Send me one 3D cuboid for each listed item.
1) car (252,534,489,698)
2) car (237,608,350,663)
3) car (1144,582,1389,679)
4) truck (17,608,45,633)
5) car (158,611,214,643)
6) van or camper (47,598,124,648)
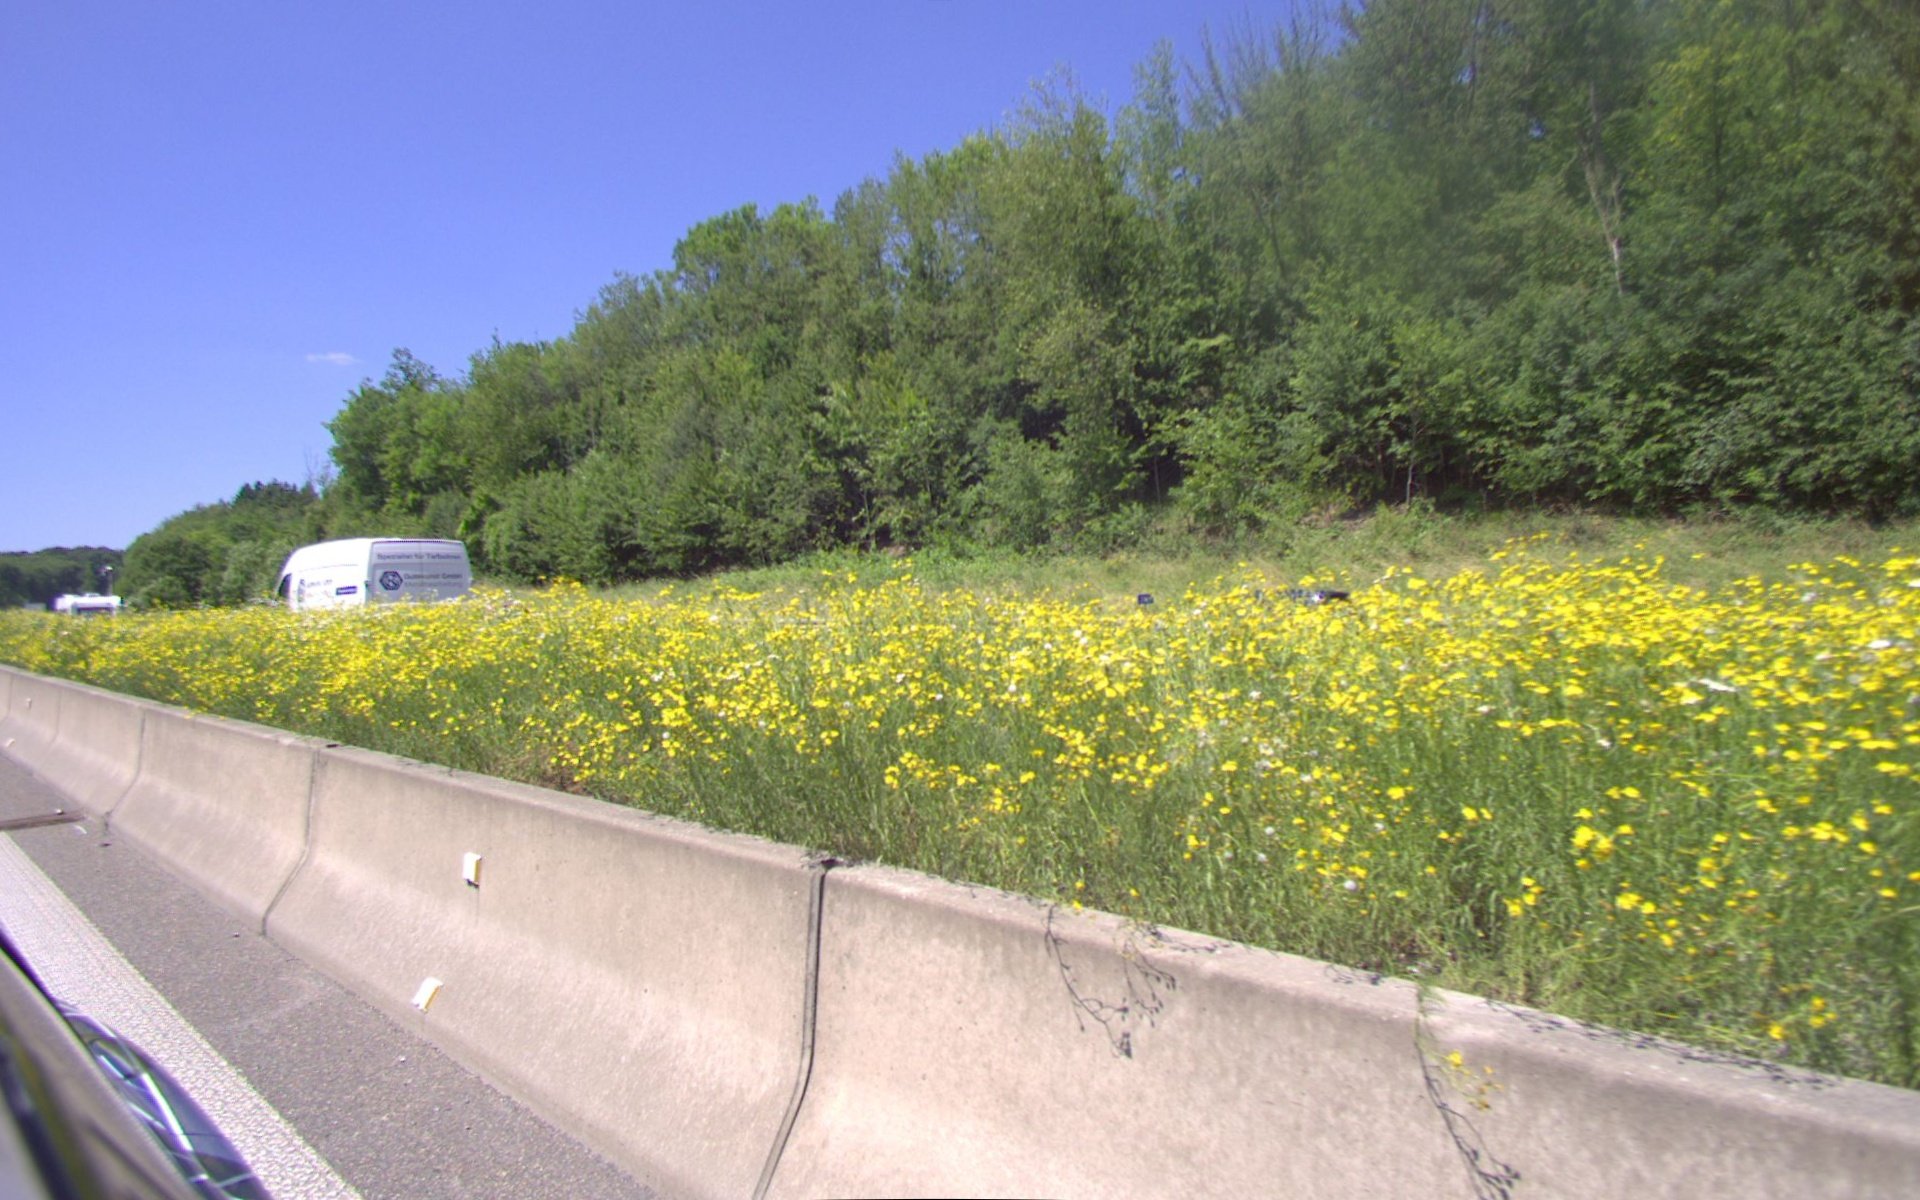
[{"bbox_3d":[-10.933,0.287,18.534,5.906,2.560,1.973,-1,0,41],"label":"car"},{"bbox_3d":[-21.072,1.084,31.940,3.998,1.586,1.973,-1,0,41],"label":"car"},{"bbox_3d":[5.115,0.479,17.074,3.540,1.465,1.769,-1,0,41],"label":"car"},{"bbox_3d":[-151.925,3.385,165.621,2.794,3.968,13.765,-1,0,-41],"label":"truck"},{"bbox_3d":[-44.605,1.552,58.315,4.420,1.708,1.737,-1,0,42],"label":"car"},{"bbox_3d":[-49.533,1.289,57.236,7.395,2.656,2.284,-1,0,41],"label":"van or camper"}]
